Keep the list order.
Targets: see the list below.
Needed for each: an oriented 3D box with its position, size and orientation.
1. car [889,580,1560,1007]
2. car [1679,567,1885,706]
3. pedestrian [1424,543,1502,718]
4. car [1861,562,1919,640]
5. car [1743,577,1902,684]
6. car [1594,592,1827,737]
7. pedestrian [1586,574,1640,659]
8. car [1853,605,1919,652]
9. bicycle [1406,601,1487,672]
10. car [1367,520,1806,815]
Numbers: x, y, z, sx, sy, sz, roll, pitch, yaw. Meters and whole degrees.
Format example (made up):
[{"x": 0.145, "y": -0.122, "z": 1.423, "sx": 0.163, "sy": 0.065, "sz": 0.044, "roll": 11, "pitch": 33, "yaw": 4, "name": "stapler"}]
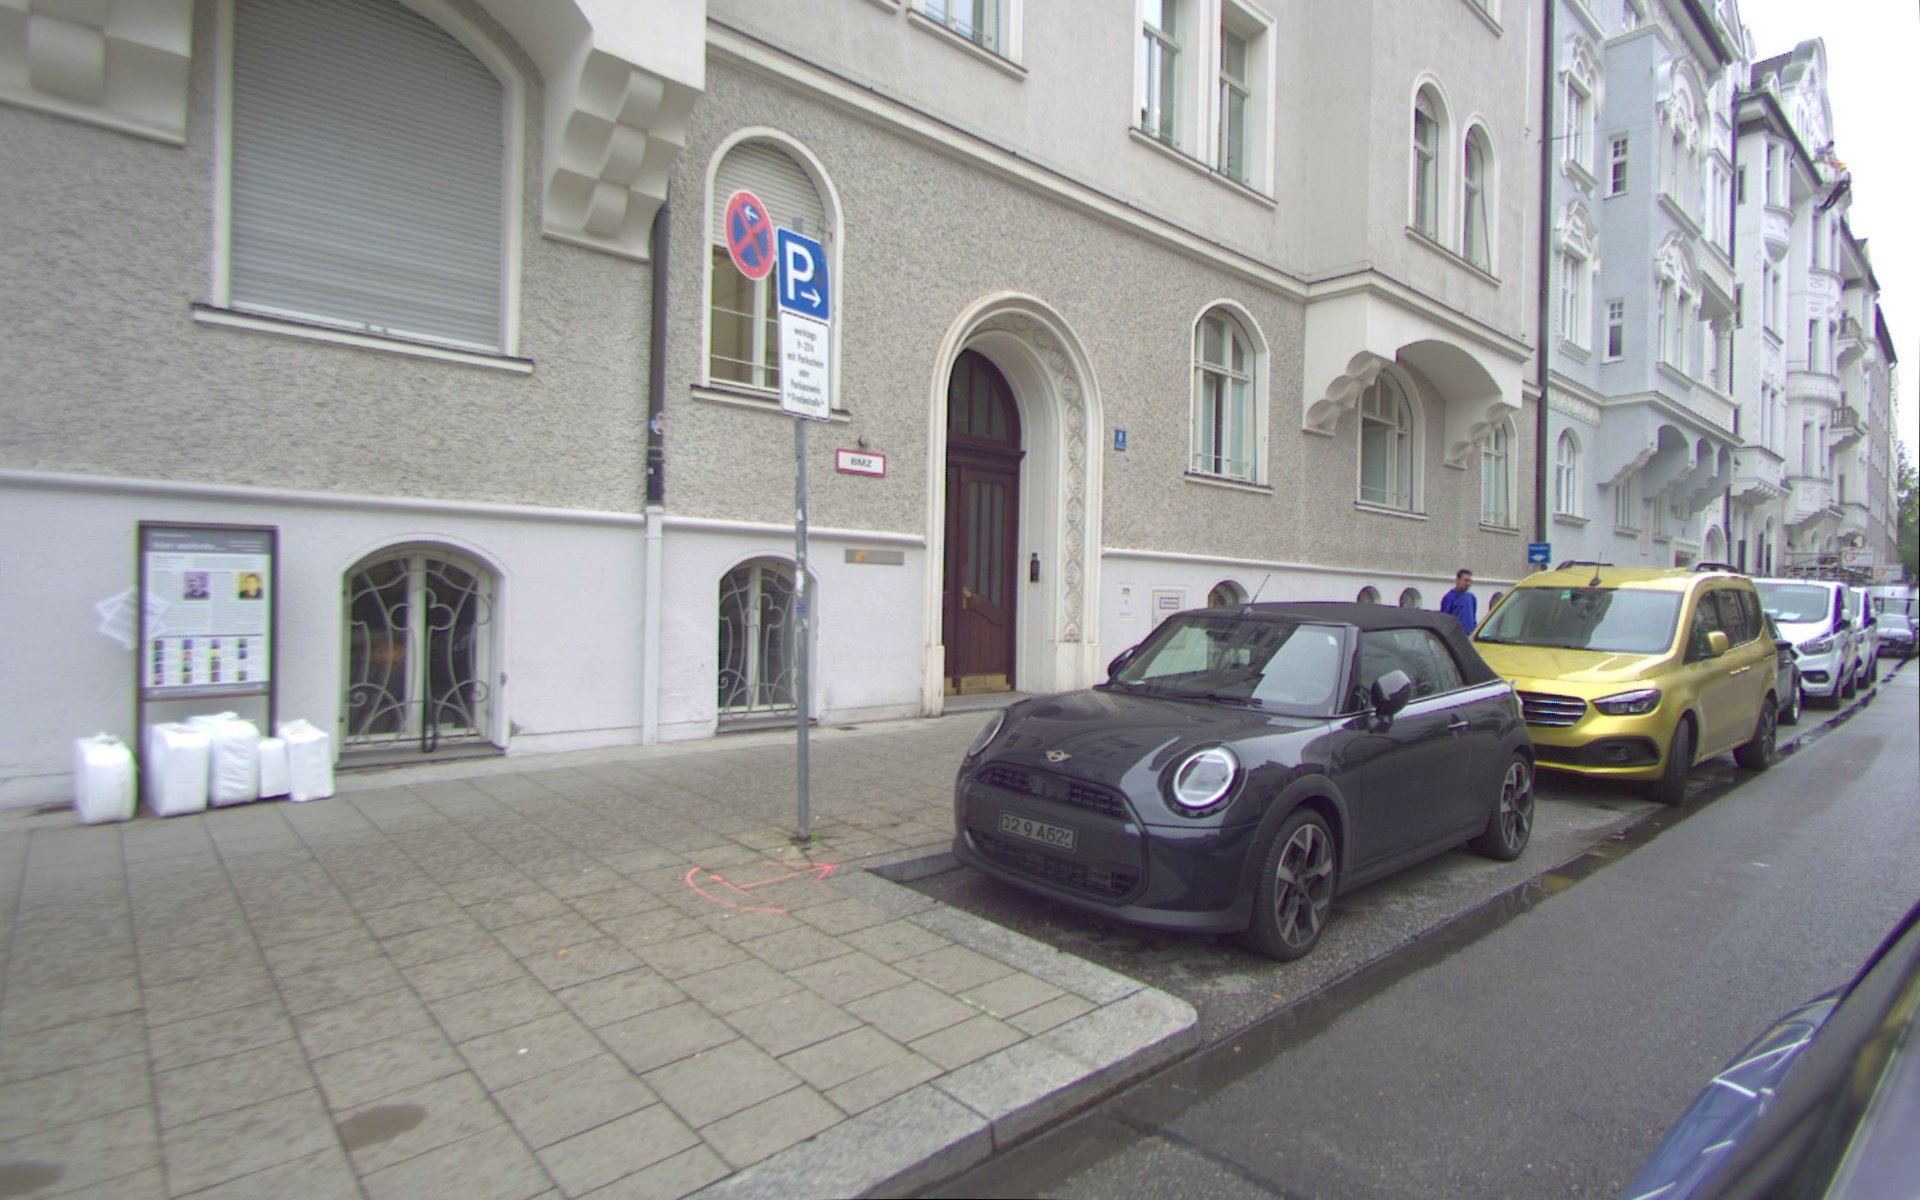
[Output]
[{"x": 1.628, "y": 0.668, "z": 5.418, "sx": 3.762, "sy": 1.463, "sz": 1.714, "roll": 1, "pitch": 1, "yaw": -43, "name": "car"}, {"x": 13.514, "y": 0.499, "z": 16.528, "sx": 4.804, "sy": 1.942, "sz": 1.996, "roll": 1, "pitch": 1, "yaw": -44, "name": "car"}, {"x": 6.066, "y": 0.351, "z": 12.209, "sx": 0.714, "sy": 2.039, "sz": 0.584, "roll": 1, "pitch": 0, "yaw": -41, "name": "pedestrian"}, {"x": 35.530, "y": 0.053, "z": 37.979, "sx": 5.355, "sy": 2.721, "sz": 2.079, "roll": 0, "pitch": 2, "yaw": -44, "name": "car"}, {"x": 17.842, "y": 0.550, "z": 20.845, "sx": 4.796, "sy": 1.942, "sz": 1.996, "roll": 1, "pitch": 1, "yaw": -44, "name": "car"}, {"x": 9.469, "y": 0.698, "z": 12.662, "sx": 3.818, "sy": 1.533, "sz": 1.636, "roll": 1, "pitch": 0, "yaw": -42, "name": "car"}, {"x": 15.081, "y": 0.362, "z": 23.377, "sx": 0.732, "sy": 1.927, "sz": 0.853, "roll": 1, "pitch": 0, "yaw": -40, "name": "pedestrian"}, {"x": 31.098, "y": 0.905, "z": 33.616, "sx": 4.173, "sy": 1.425, "sz": 1.790, "roll": 0, "pitch": 1, "yaw": -44, "name": "car"}, {"x": 8.401, "y": 0.609, "z": 17.456, "sx": 1.693, "sy": 1.147, "sz": 0.667, "roll": 1, "pitch": 1, "yaw": -43, "name": "bicycle"}, {"x": 5.653, "y": 0.437, "z": 8.886, "sx": 4.490, "sy": 1.942, "sz": 1.997, "roll": 1, "pitch": 1, "yaw": -40, "name": "car"}]
